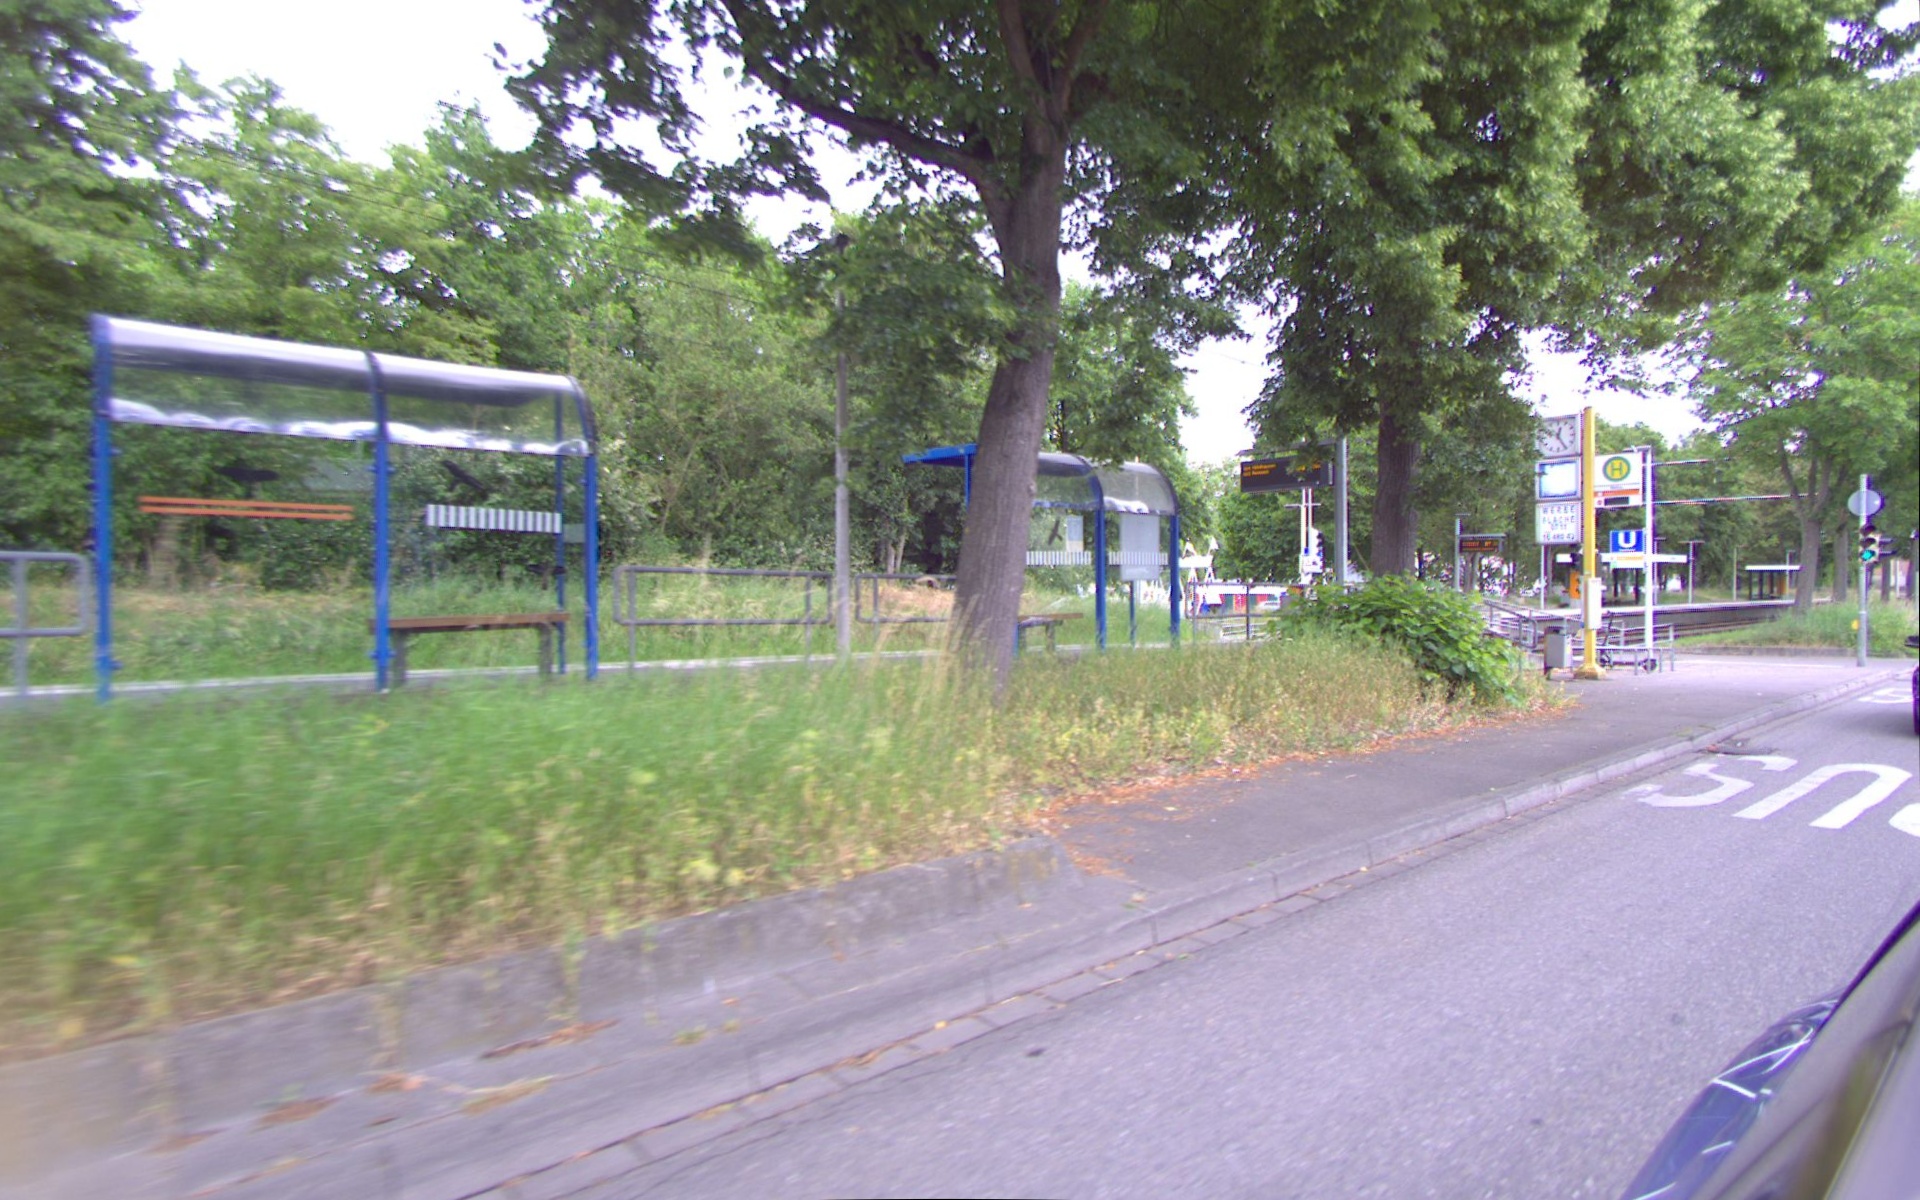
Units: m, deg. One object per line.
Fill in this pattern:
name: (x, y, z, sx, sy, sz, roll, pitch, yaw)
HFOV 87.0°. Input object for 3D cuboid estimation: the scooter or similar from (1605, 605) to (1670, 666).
scooter or similar: (14.194, 0.723, 21.213, 1.084, 1.223, 0.358, 1, 0, 42)
